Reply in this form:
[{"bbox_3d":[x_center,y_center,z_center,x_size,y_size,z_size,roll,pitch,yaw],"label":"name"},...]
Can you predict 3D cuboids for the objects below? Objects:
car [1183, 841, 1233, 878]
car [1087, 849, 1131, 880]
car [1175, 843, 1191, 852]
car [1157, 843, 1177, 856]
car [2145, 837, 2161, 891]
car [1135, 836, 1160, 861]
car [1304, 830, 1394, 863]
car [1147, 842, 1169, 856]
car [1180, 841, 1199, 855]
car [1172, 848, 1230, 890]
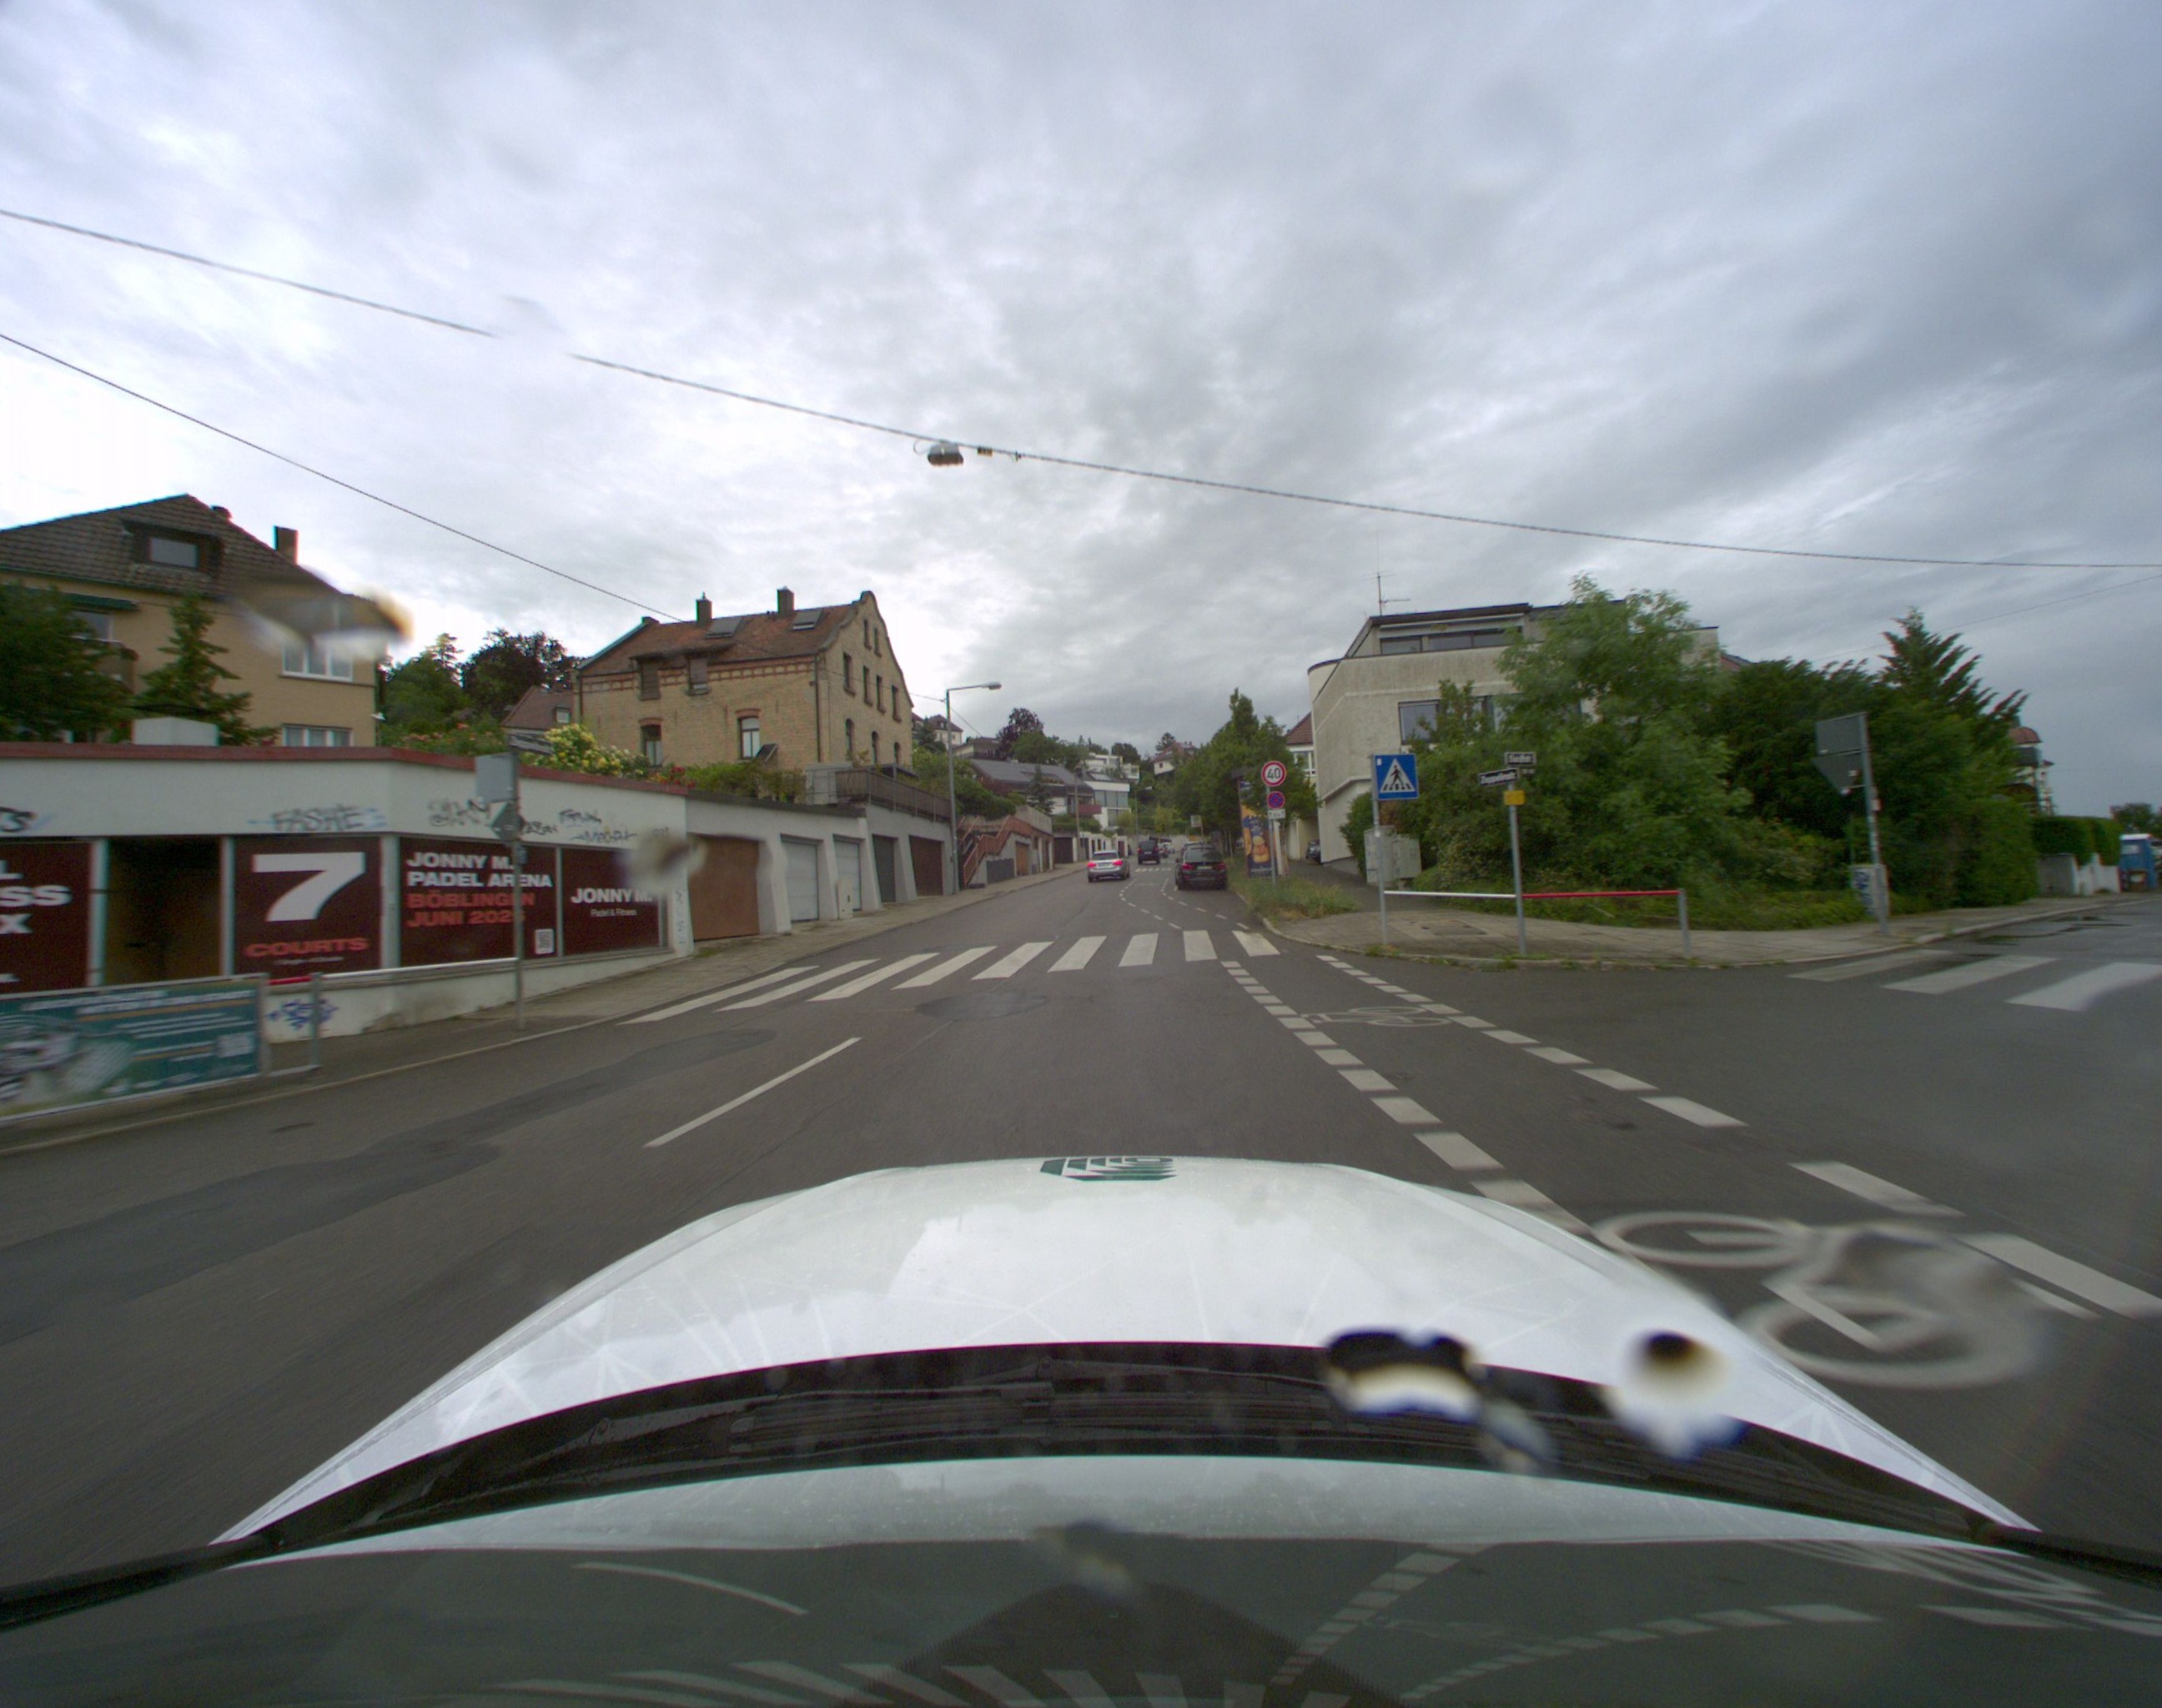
[{"bbox_3d":[5.545,0.215,35.892,1.708,1.450,3.836,-2,0,3],"label":"car"},{"bbox_3d":[1.395,0.484,39.453,1.802,1.360,4.008,-1,1,6],"label":"car"},{"bbox_3d":[15.141,-0.974,120.830,1.810,1.296,4.017,-2,0,15],"label":"car"},{"bbox_3d":[11.583,-0.639,109.349,1.713,1.606,3.567,-2,0,20],"label":"car"},{"bbox_3d":[34.735,0.300,25.069,4.014,1.596,1.979,2,-5,-32],"label":"car"},{"bbox_3d":[5.277,-0.450,64.203,1.815,1.819,4.006,-2,0,5],"label":"car"},{"bbox_3d":[12.784,-0.338,38.852,3.952,1.415,1.734,-2,0,21],"label":"car"},{"bbox_3d":[7.686,-0.540,81.051,1.813,1.296,4.011,-2,0,9],"label":"car"},{"bbox_3d":[10.195,-0.588,76.393,1.459,1.254,3.593,-2,0,11],"label":"car"},{"bbox_3d":[4.440,0.508,30.692,1.763,1.377,4.353,-2,0,4],"label":"car"}]
